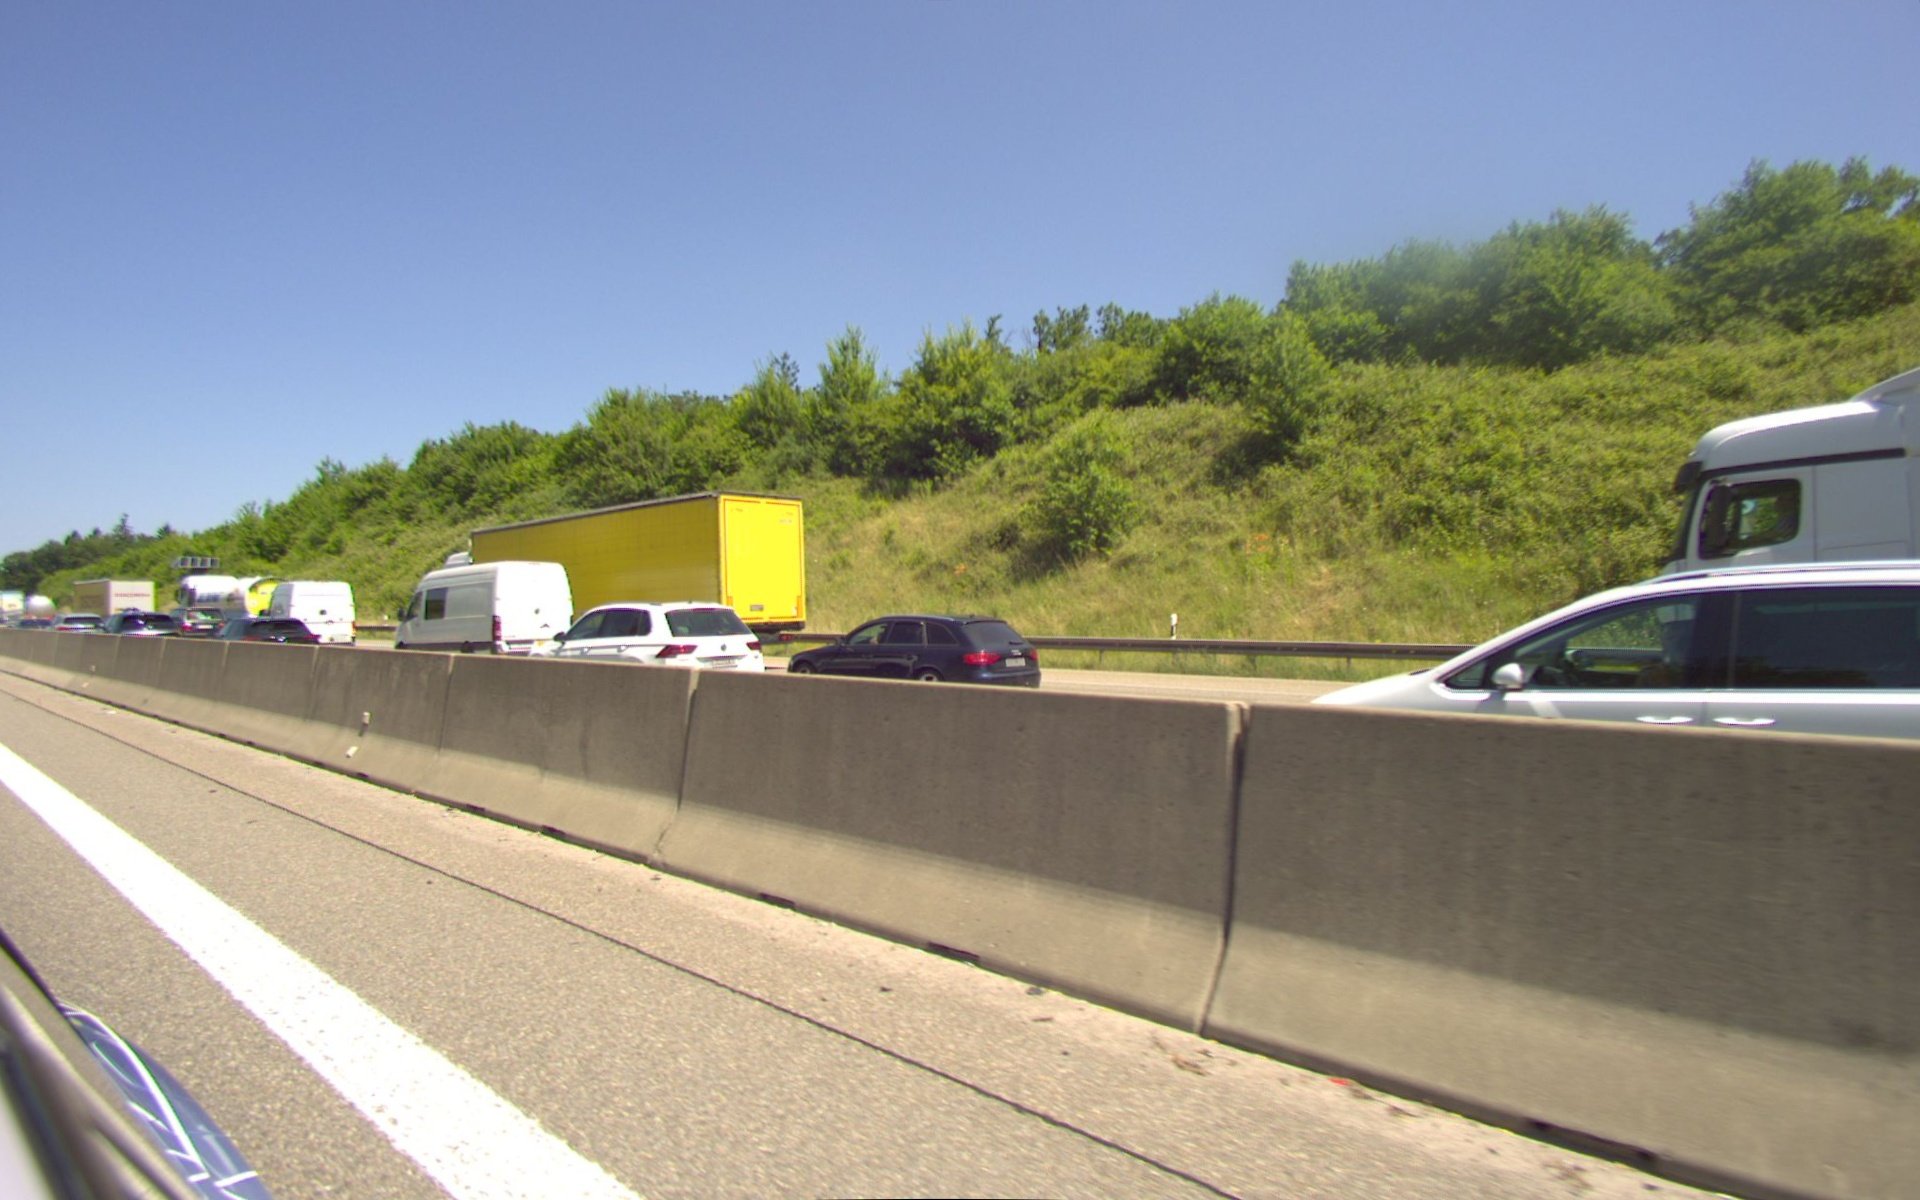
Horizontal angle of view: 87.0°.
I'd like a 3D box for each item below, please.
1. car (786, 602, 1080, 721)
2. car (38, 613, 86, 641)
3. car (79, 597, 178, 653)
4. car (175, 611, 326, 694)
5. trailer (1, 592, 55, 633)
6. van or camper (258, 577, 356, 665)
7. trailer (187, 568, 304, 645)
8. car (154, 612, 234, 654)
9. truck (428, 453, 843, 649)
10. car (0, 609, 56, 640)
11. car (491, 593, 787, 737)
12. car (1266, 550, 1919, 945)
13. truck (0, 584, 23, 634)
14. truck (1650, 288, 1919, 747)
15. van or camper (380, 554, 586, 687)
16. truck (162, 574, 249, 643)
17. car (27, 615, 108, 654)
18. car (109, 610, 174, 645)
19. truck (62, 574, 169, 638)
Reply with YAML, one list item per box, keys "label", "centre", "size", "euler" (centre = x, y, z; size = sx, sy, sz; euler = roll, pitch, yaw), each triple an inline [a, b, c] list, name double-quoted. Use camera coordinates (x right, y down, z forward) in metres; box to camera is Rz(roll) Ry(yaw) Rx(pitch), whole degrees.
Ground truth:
- label: "car"
  centre: [-0.530, 0.829, 15.676]
  size: [4.521, 1.576, 1.809]
  euler: [0, 0, 41]
- label: "car"
  centre: [-61.371, 1.795, 69.135]
  size: [4.987, 1.778, 1.809]
  euler: [0, 0, 41]
- label: "car"
  centre: [-28.950, 0.820, 35.165]
  size: [4.987, 1.778, 1.809]
  euler: [0, 0, 41]
- label: "car"
  centre: [-17.282, 1.168, 24.550]
  size: [4.987, 1.778, 1.809]
  euler: [0, 0, 41]
- label: "trailer"
  centre: [-94.849, 1.367, 102.931]
  size: [11.685, 3.319, 2.552]
  euler: [-6, -3, 40]
- label: "van or camper"
  centre: [-23.051, 0.652, 35.565]
  size: [2.222, 2.796, 7.232]
  euler: [-1, 0, -38]
- label: "trailer"
  centre: [-37.893, 0.406, 53.465]
  size: [10.676, 3.761, 2.583]
  euler: [-1, 0, 41]
- label: "car"
  centre: [-34.684, 1.438, 45.784]
  size: [4.758, 1.741, 1.976]
  euler: [0, 0, 42]
- label: "truck"
  centre: [-10.480, -1.107, 30.075]
  size: [16.666, 4.490, 3.658]
  euler: [0, 0, 41]
- label: "car"
  centre: [-48.469, 1.228, 52.551]
  size: [4.758, 1.508, 1.808]
  euler: [0, 0, 42]
- label: "car"
  centre: [-4.873, 0.817, 14.950]
  size: [4.987, 1.778, 1.809]
  euler: [0, 0, 41]
- label: "car"
  centre: [4.460, 0.656, 5.630]
  size: [4.987, 1.778, 1.809]
  euler: [0, 0, 41]
- label: "truck"
  centre: [-60.319, 0.561, 63.117]
  size: [6.777, 3.039, 2.243]
  euler: [0, 0, 43]
- label: "truck"
  centre: [12.027, -0.838, 9.710]
  size: [8.605, 4.549, 2.910]
  euler: [0, 0, 43]
- label: "van or camper"
  centre: [-12.389, 0.460, 25.903]
  size: [7.535, 2.961, 2.173]
  euler: [0, 0, 43]
- label: "truck"
  centre: [-43.367, 0.438, 58.153]
  size: [5.866, 3.771, 2.652]
  euler: [0, 0, 39]
- label: "car"
  centre: [-37.537, 1.402, 42.519]
  size: [4.754, 1.508, 1.810]
  euler: [0, 0, 39]
- label: "car"
  centre: [-43.661, 1.423, 53.937]
  size: [4.987, 1.778, 1.809]
  euler: [0, 0, 41]
- label: "truck"
  centre: [-65.145, 0.430, 77.790]
  size: [17.372, 4.490, 3.658]
  euler: [0, 0, 41]
